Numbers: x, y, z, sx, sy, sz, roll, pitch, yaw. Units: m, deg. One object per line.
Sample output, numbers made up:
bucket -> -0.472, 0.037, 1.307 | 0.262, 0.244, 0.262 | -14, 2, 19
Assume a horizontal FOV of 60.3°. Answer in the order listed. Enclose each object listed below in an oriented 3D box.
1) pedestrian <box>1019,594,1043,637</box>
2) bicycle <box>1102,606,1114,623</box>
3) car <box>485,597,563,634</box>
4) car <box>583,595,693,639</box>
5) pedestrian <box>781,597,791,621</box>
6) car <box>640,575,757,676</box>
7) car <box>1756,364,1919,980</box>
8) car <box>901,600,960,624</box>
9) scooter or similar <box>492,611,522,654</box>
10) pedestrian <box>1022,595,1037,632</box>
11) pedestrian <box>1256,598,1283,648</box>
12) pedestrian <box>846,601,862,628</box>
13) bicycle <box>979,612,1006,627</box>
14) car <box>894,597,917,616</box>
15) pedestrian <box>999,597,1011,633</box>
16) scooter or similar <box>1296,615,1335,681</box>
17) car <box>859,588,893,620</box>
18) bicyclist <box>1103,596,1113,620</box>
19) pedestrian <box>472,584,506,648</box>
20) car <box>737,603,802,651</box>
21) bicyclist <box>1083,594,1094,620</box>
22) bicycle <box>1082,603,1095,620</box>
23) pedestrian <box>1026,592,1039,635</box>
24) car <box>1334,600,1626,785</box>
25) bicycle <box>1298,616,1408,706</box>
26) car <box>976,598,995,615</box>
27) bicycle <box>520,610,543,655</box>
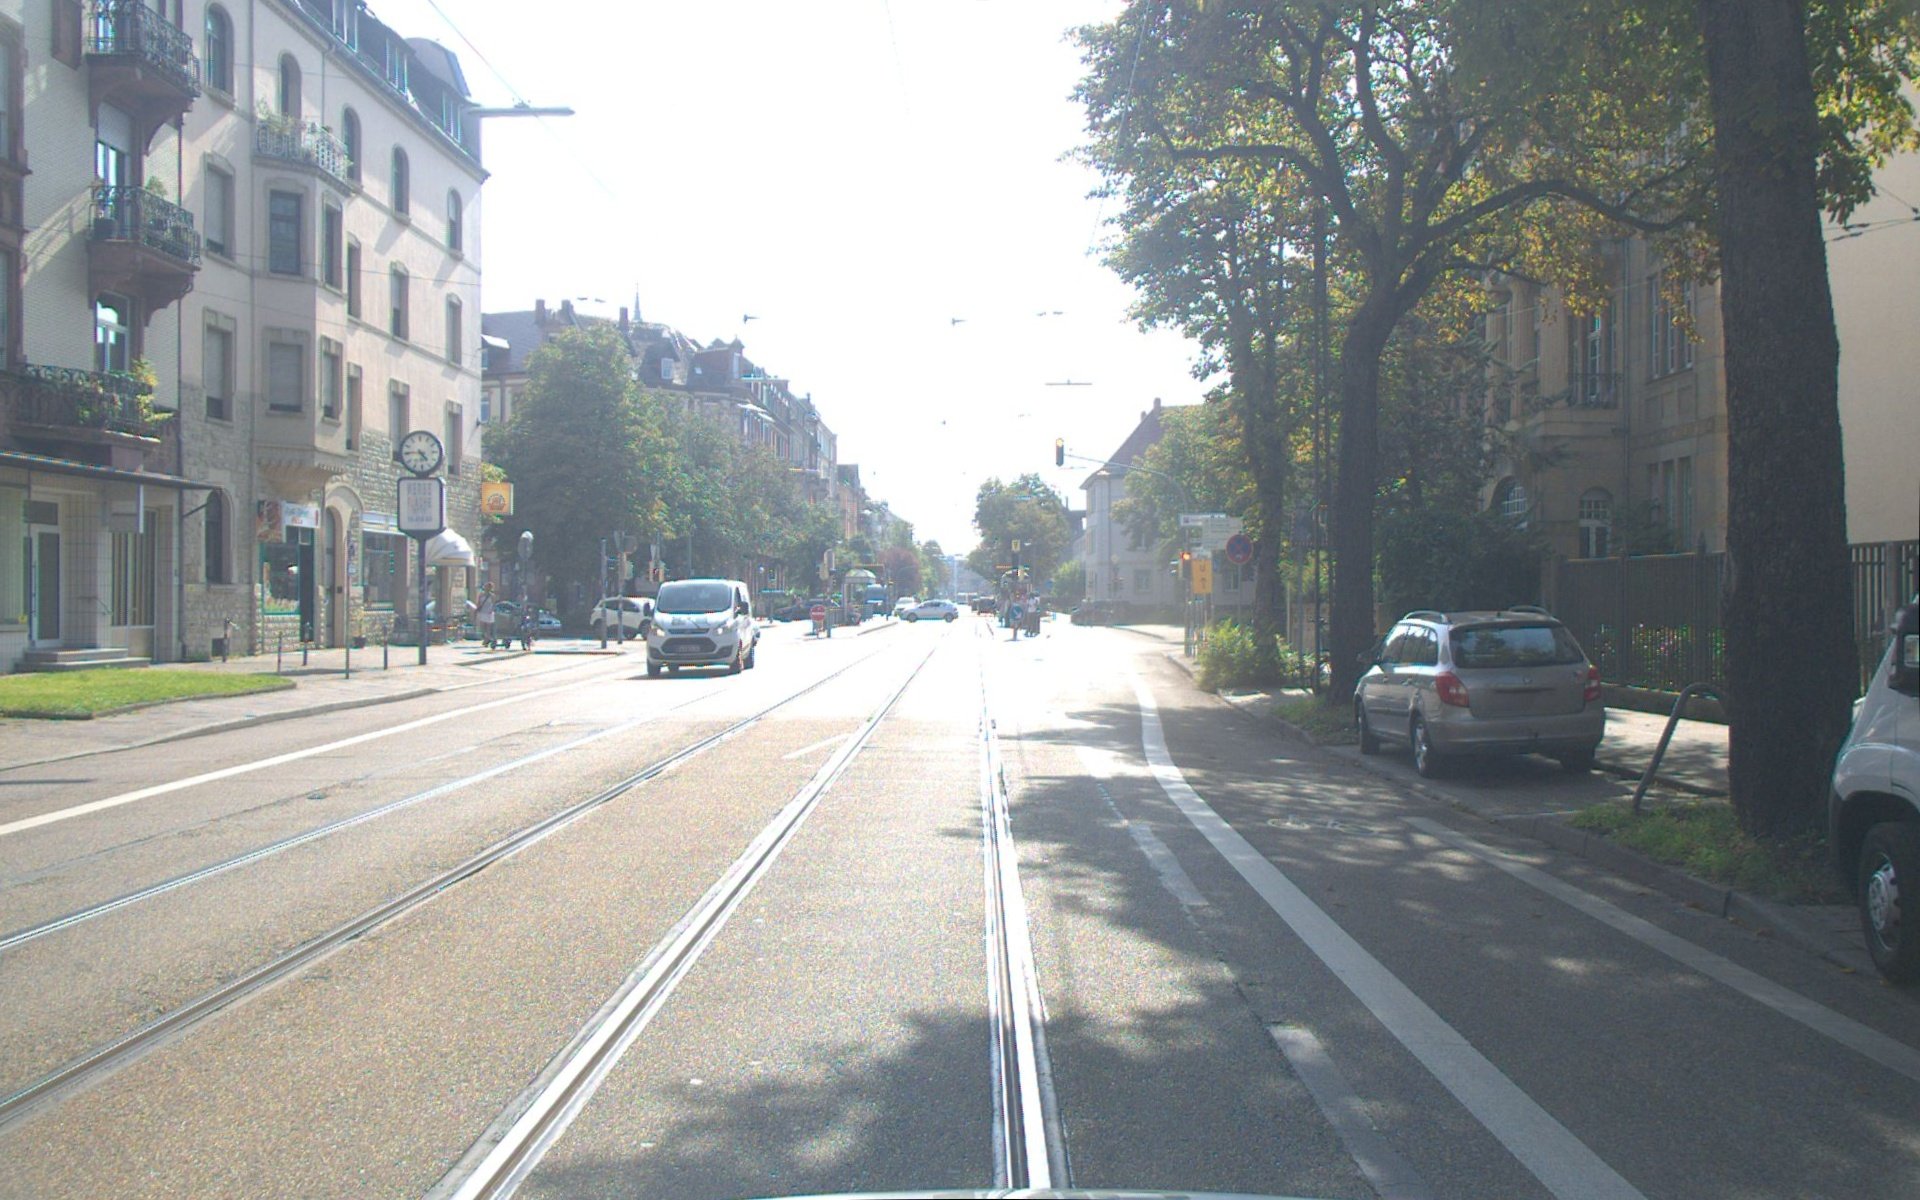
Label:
pedestrian -> 2.958, 0.640, 68.948 | 0.688, 1.755, 0.746 | 4, 2, 34
bicycle -> 8.922, 0.844, 99.666 | 0.546, 0.995, 1.856 | 0, 0, 0
car -> -18.388, 0.616, 69.588 | 1.846, 1.492, 4.733 | 0, 0, -32
car -> -12.617, 0.634, 64.671 | 4.249, 1.659, 1.991 | 0, 0, 39
pedestrian -> -12.880, 0.671, 122.572 | 0.521, 1.720, 0.545 | 3, 2, 21
car -> -5.609, 0.518, 35.990 | 1.953, 2.049, 4.857 | 0, 0, -2
car -> 4.937, 0.288, 5.104 | 2.004, 2.542, 6.229 | -1, 0, 1
car -> -1.969, 0.777, 111.669 | 3.881, 1.579, 2.001 | 0, 0, 2
scooter or similar -> -12.884, 0.916, 47.027 | 0.364, 1.218, 1.017 | 0, -1, -45
pedestrian -> 3.441, 0.654, 82.109 | 0.694, 1.790, 0.534 | 2, 2, 1
pedestrian -> 10.883, 0.796, 58.129 | 0.736, 1.761, 0.770 | 0, 0, -8
pedestrian -> -5.496, 0.764, 85.758 | 0.811, 1.382, 0.775 | 0, 0, -3
bicycle -> 2.236, 1.341, 112.672 | 1.811, 0.975, 0.549 | 0, 0, 4
car -> -4.667, 0.555, 141.394 | 1.764, 1.682, 3.643 | 0, 0, 2
pedestrian -> 2.290, 0.765, 84.172 | 0.521, 1.790, 0.545 | 2, 2, 2
scooter or similar -> 6.811, 0.904, 31.713 | 0.546, 1.218, 1.035 | -3, -1, 6
car -> -7.361, 0.361, 145.238 | 2.298, 2.708, 5.108 | 0, 0, 5
bicyclist -> 8.915, 0.465, 99.682 | 0.546, 1.441, 0.871 | 0, 0, -1
pedestrian -> -13.911, 0.471, 48.884 | 0.758, 1.892, 0.830 | 0, 0, -1
car -> -6.517, 0.905, 56.941 | 1.835, 1.480, 4.543 | -3, 0, -2
bicyclist -> 7.782, 0.426, 100.237 | 0.616, 1.534, 0.678 | 0, 0, -1
bicycle -> 7.777, 0.711, 100.237 | 0.616, 0.995, 1.770 | 0, 0, 0
pedestrian -> 3.202, 0.609, 73.211 | 0.494, 1.865, 0.534 | 2, 2, 1
car -> 5.102, 0.826, 16.841 | 1.574, 1.550, 4.357 | -3, 0, 1
bicycle -> 5.841, 0.897, 24.526 | 1.825, 1.186, 0.497 | -3, -4, -40
car -> 2.503, 0.650, 160.774 | 1.764, 1.682, 3.643 | 0, 0, 2
bicycle -> -12.311, 0.923, 47.556 | 0.444, 1.248, 1.853 | 0, 0, -8
